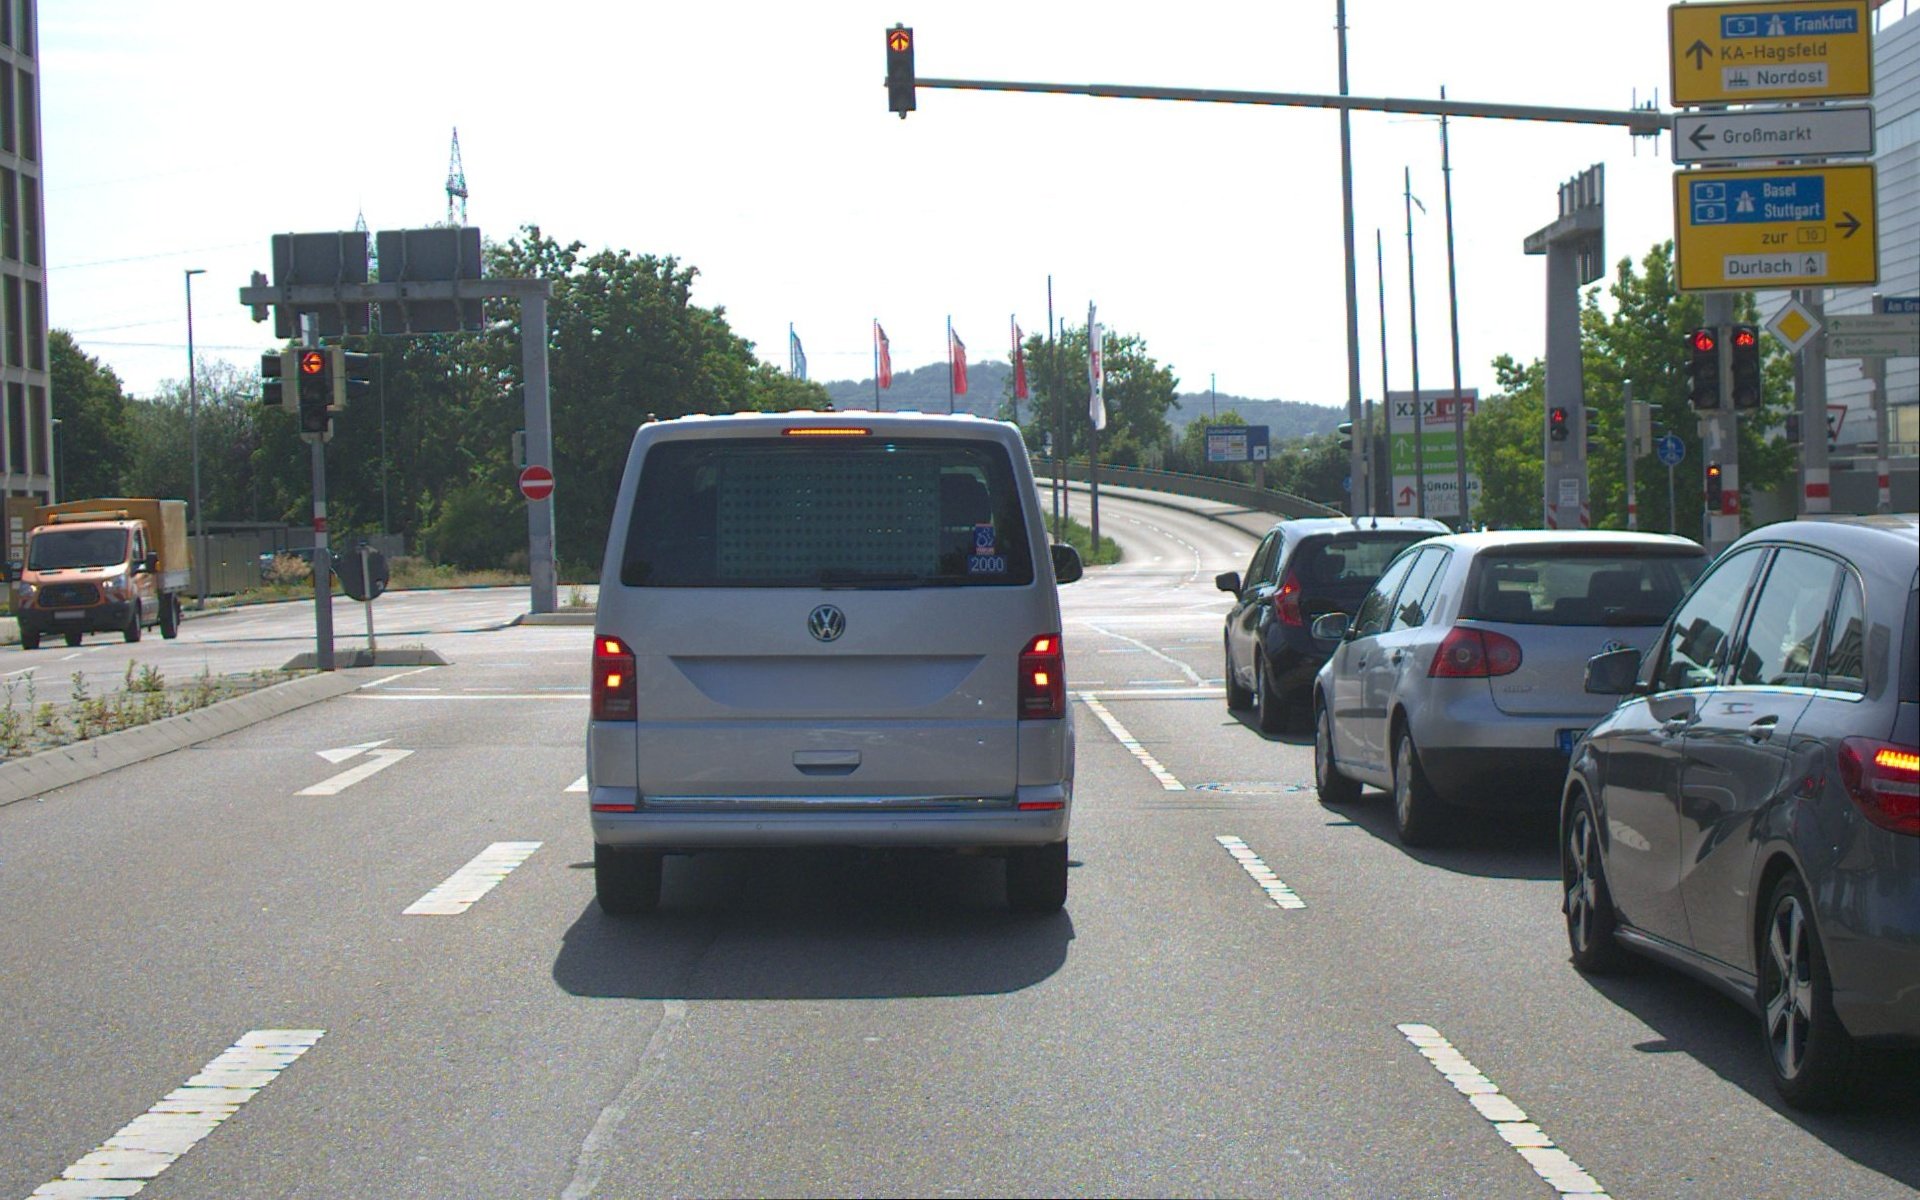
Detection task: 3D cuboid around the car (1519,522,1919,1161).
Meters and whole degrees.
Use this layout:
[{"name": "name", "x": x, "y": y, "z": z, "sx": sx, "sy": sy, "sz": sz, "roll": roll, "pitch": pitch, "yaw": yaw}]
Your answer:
[{"name": "car", "x": 2.903, "y": 0.529, "z": 10.227, "sx": 1.746, "sy": 1.511, "sz": 4.078, "roll": 0, "pitch": 1, "yaw": -1}]

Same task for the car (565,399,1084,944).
[{"name": "car", "x": -0.524, "y": 0.217, "z": 14.578, "sx": 1.884, "sy": 1.983, "sz": 4.000, "roll": 0, "pitch": 1, "yaw": -1}]

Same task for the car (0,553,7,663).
[{"name": "car", "x": -12.981, "y": 0.169, "z": 42.092, "sx": 1.576, "sy": 1.404, "sz": 4.380, "roll": -2, "pitch": 1, "yaw": -3}]

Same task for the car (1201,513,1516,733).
[{"name": "car", "x": 2.910, "y": 0.112, "z": 25.875, "sx": 1.836, "sy": 1.520, "sz": 4.000, "roll": 0, "pitch": 1, "yaw": -1}]

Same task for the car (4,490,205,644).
[{"name": "car", "x": -15.343, "y": -0.637, "z": 62.070, "sx": 2.405, "sy": 2.552, "sz": 6.897, "roll": -2, "pitch": 1, "yaw": -5}]

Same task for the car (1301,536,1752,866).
[{"name": "car", "x": 2.727, "y": 0.416, "z": 17.285, "sx": 1.578, "sy": 1.453, "sz": 3.786, "roll": 0, "pitch": 1, "yaw": -1}]
